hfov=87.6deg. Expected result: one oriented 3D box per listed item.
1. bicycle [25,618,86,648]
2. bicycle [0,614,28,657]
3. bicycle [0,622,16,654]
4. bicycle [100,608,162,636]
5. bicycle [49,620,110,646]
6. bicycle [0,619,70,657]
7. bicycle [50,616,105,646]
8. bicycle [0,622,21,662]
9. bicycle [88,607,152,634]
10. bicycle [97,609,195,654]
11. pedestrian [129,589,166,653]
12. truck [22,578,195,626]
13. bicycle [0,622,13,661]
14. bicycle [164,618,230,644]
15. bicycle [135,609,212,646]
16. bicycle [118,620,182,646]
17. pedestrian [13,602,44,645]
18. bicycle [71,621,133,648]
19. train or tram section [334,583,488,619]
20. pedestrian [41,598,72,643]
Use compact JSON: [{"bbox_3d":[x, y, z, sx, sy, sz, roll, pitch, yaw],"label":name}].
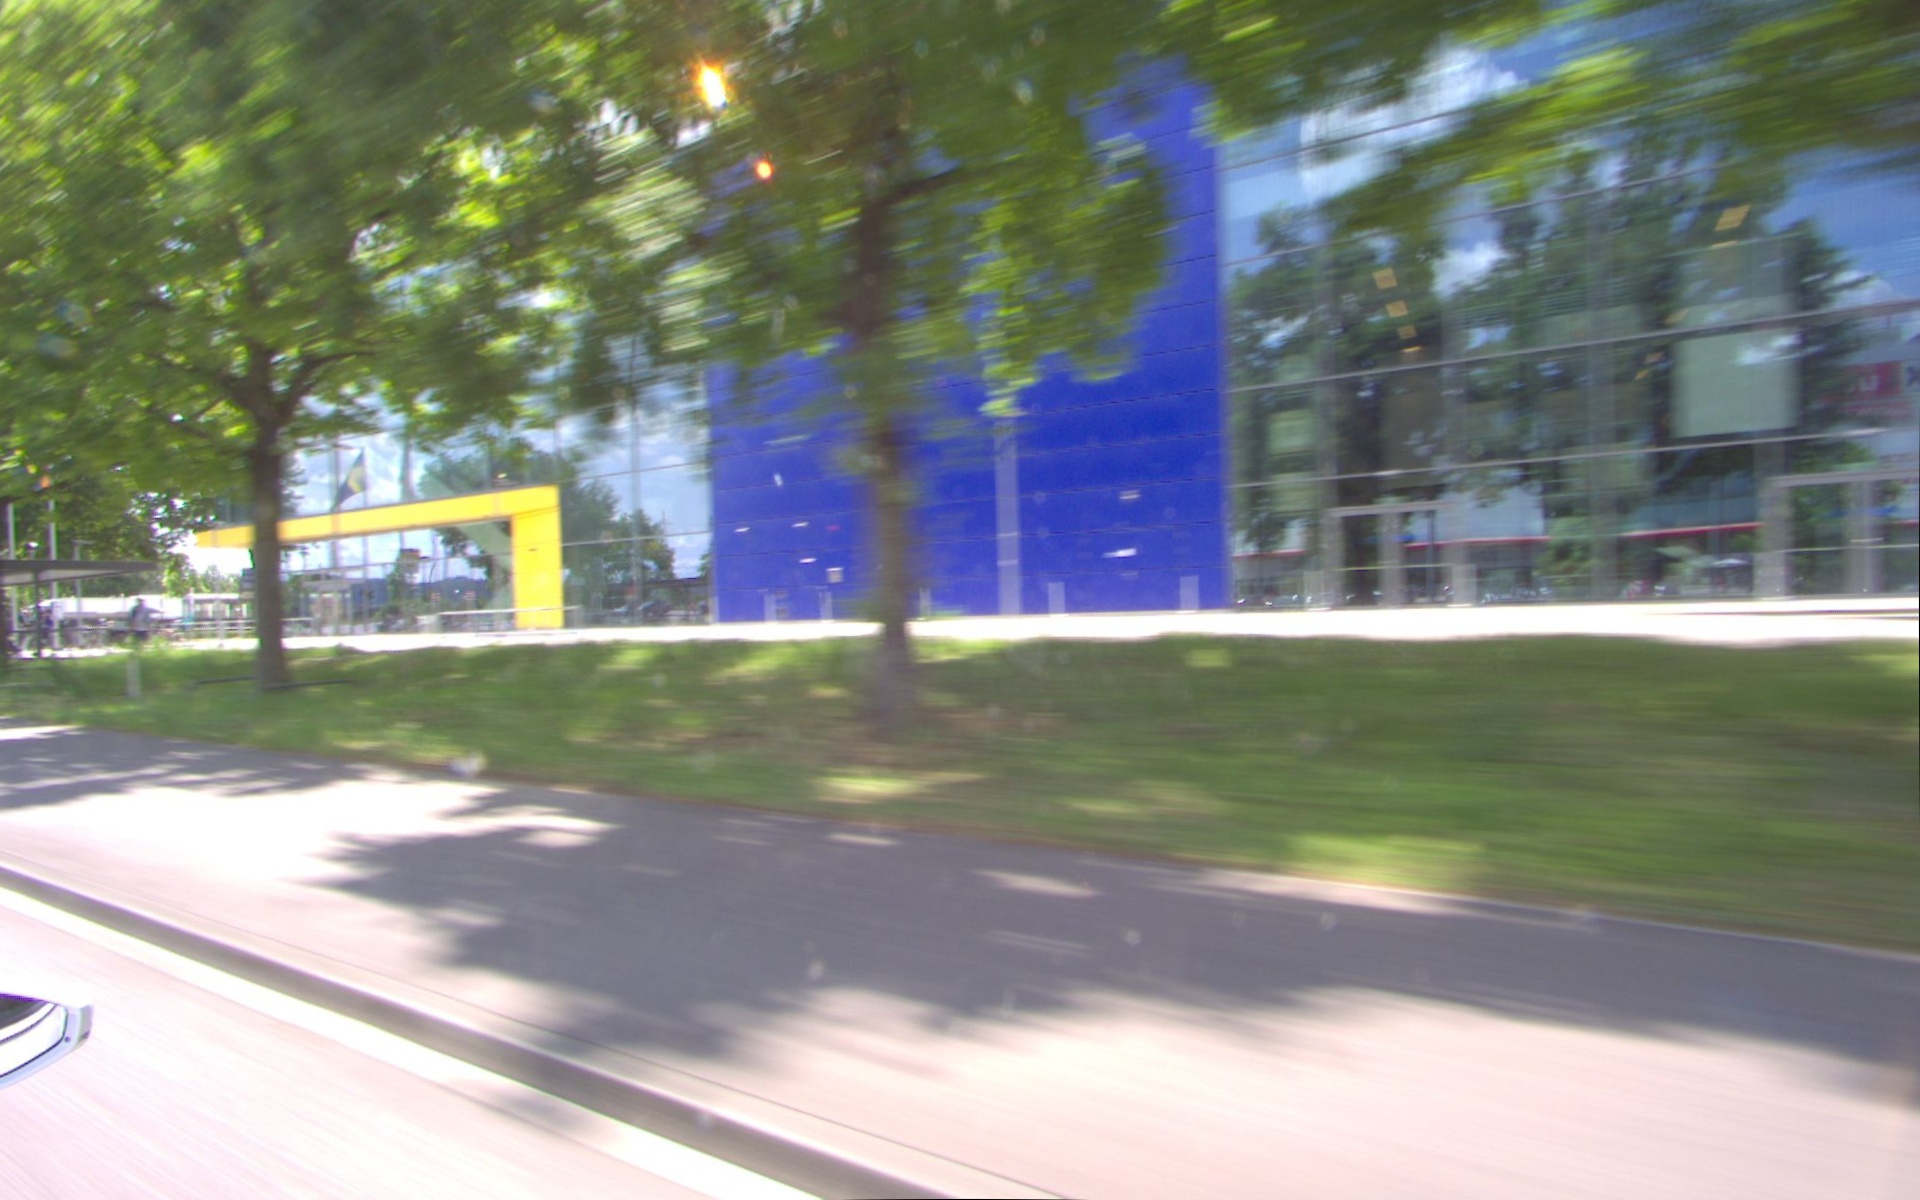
[{"bbox_3d":[-38.191,1.381,42.292,0.495,1.122,1.923,-3,0,13],"label":"bicycle"},{"bbox_3d":[-29.324,1.093,30.104,0.417,1.248,1.860,0,1,27],"label":"bicycle"},{"bbox_3d":[-30.327,1.209,30.779,0.417,1.008,1.860,-2,0,27],"label":"bicycle"},{"bbox_3d":[-33.069,0.860,39.988,0.417,1.008,1.860,-2,1,27],"label":"bicycle"},{"bbox_3d":[-36.946,1.375,42.046,0.418,1.008,1.857,0,1,33],"label":"bicycle"},{"bbox_3d":[-27.372,1.108,29.330,0.417,1.008,1.860,-2,1,27],"label":"bicycle"},{"bbox_3d":[-36.280,1.270,41.184,0.453,1.173,1.678,-1,1,17],"label":"bicycle"},{"bbox_3d":[-25.067,1.113,25.317,0.417,1.008,1.860,0,2,27],"label":"bicycle"},{"bbox_3d":[-32.447,0.785,38.692,0.417,1.008,1.860,-1,1,27],"label":"bicycle"},{"bbox_3d":[-22.522,0.850,27.737,1.980,1.123,0.575,-3,2,-21],"label":"bicycle"},{"bbox_3d":[-22.798,0.589,28.107,0.624,1.744,0.523,-3,1,-23],"label":"pedestrian"},{"bbox_3d":[-78.665,0.164,92.944,2.909,4.159,11.935,0,0,31],"label":"truck"},{"bbox_3d":[-25.494,1.124,25.544,0.417,1.008,1.860,0,2,27],"label":"bicycle"},{"bbox_3d":[-27.906,1.123,36.647,0.464,0.893,1.858,0,1,31],"label":"bicycle"},{"bbox_3d":[-29.035,0.986,36.997,0.713,1.246,2.128,0,2,41],"label":"bicycle"},{"bbox_3d":[-30.990,1.255,38.336,0.417,0.894,1.860,-1,1,27],"label":"bicycle"},{"bbox_3d":[-42.836,1.089,46.036,1.001,1.927,0.965,-2,0,-45],"label":"pedestrian"},{"bbox_3d":[-34.785,1.381,40.634,0.457,1.008,1.860,0,0,27],"label":"bicycle"},{"bbox_3d":[-53.975,0.138,99.211,3.000,3.227,14.044,-1,-1,28],"label":"train or tram section"},{"bbox_3d":[-42.707,0.980,47.326,1.001,2.099,0.965,-2,0,-44],"label":"pedestrian"}]
